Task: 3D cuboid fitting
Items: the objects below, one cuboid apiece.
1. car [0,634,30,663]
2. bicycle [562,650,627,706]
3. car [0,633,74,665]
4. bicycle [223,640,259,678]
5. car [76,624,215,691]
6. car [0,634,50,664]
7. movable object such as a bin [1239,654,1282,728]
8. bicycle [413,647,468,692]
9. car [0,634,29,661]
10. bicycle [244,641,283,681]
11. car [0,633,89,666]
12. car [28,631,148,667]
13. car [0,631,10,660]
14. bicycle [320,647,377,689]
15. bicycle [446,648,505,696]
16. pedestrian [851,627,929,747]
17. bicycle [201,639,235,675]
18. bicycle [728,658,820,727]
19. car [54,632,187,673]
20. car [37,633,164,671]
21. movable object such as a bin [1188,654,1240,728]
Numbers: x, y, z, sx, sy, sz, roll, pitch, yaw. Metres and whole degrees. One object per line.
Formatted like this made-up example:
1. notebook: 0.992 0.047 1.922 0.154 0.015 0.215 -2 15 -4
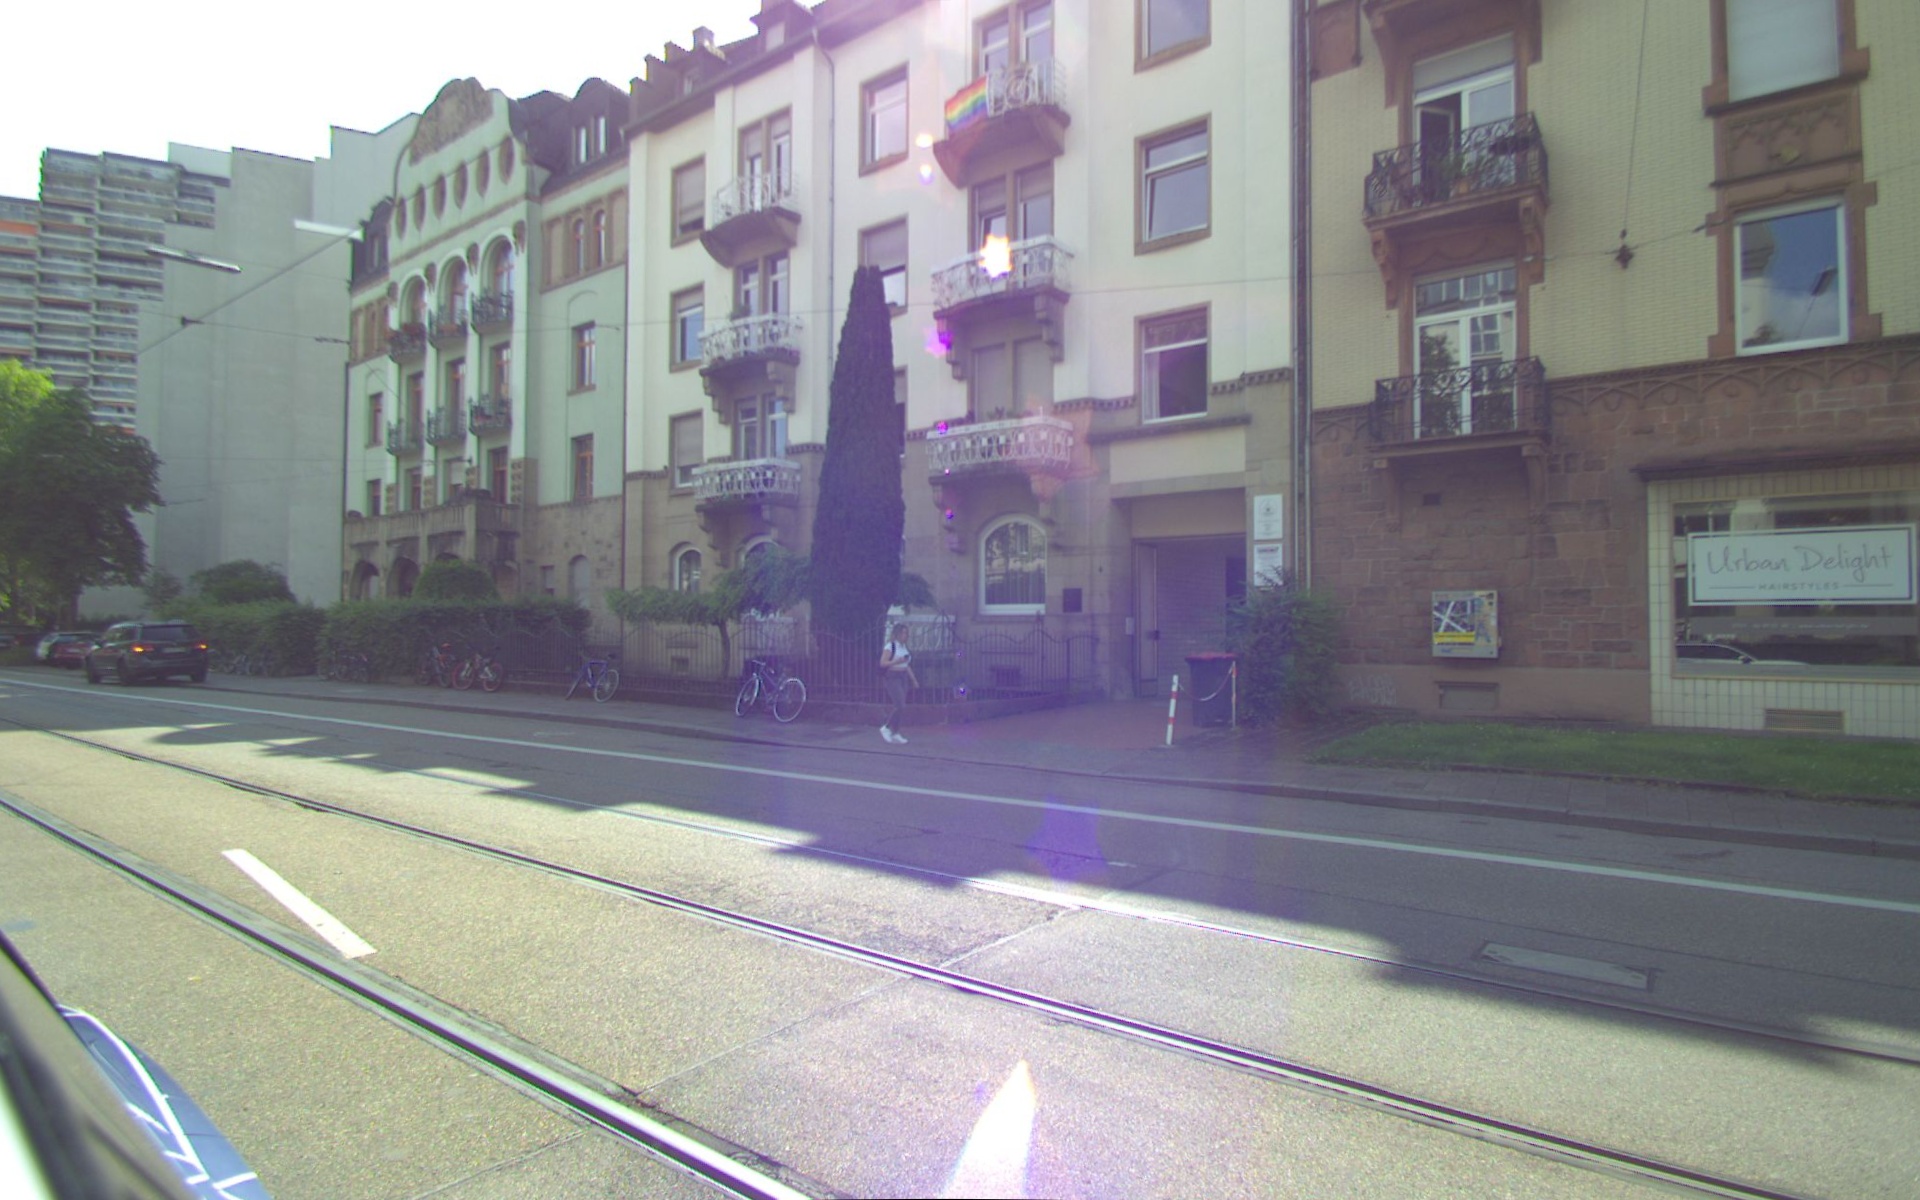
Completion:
1. car: -51.763 2.531 53.355 3.938 1.519 2.002 2 -3 -42
2. bicycle: -7.087 1.490 19.566 0.461 1.003 1.788 2 -3 -45
3. car: -46.388 2.411 49.926 3.938 1.519 2.002 2 -3 -42
4. bicycle: -22.456 1.832 31.596 1.785 1.144 0.462 -2 -3 40
5. car: -22.666 1.552 28.117 4.392 1.708 1.899 -1 -2 36
6. car: -49.070 2.501 51.575 3.938 1.519 2.002 2 -3 -42
7. movable object such as a bin: 4.303 1.296 14.536 0.531 1.037 0.475 0 -2 11
8. bicycle: -12.091 1.602 23.525 1.785 1.003 0.462 -2 -3 40
9. car: -53.953 2.607 55.658 3.938 1.519 2.002 2 -3 -42
10. bicycle: -20.930 1.813 30.395 1.785 1.144 0.462 -2 -3 40
11. car: -43.932 2.333 47.949 3.938 1.519 2.002 2 -3 -42
12. car: -38.619 2.135 44.886 3.938 1.519 2.002 2 -3 -42
13. car: -56.854 2.587 57.604 3.938 1.695 2.002 2 -3 -42
14. bicycle: -15.565 1.706 25.735 1.979 1.003 0.597 -2 -3 40
15. bicycle: -10.675 1.566 22.262 1.785 1.003 0.462 -2 -3 40
16. pedestrian: -0.946 1.150 13.734 0.764 1.553 0.749 -2 -3 39
17. bicycle: -24.111 1.828 32.885 1.785 1.144 0.462 -2 -3 40
18. bicycle: -3.014 1.456 16.266 0.461 1.003 1.980 2 -3 -43
19. car: -33.328 2.055 40.220 3.938 1.519 2.002 2 -3 -42
20. car: -36.012 2.139 42.474 3.938 1.519 2.002 2 -3 -42
21. movable object such as a bin: 3.658 1.302 14.608 0.697 1.037 0.475 0 -2 11
